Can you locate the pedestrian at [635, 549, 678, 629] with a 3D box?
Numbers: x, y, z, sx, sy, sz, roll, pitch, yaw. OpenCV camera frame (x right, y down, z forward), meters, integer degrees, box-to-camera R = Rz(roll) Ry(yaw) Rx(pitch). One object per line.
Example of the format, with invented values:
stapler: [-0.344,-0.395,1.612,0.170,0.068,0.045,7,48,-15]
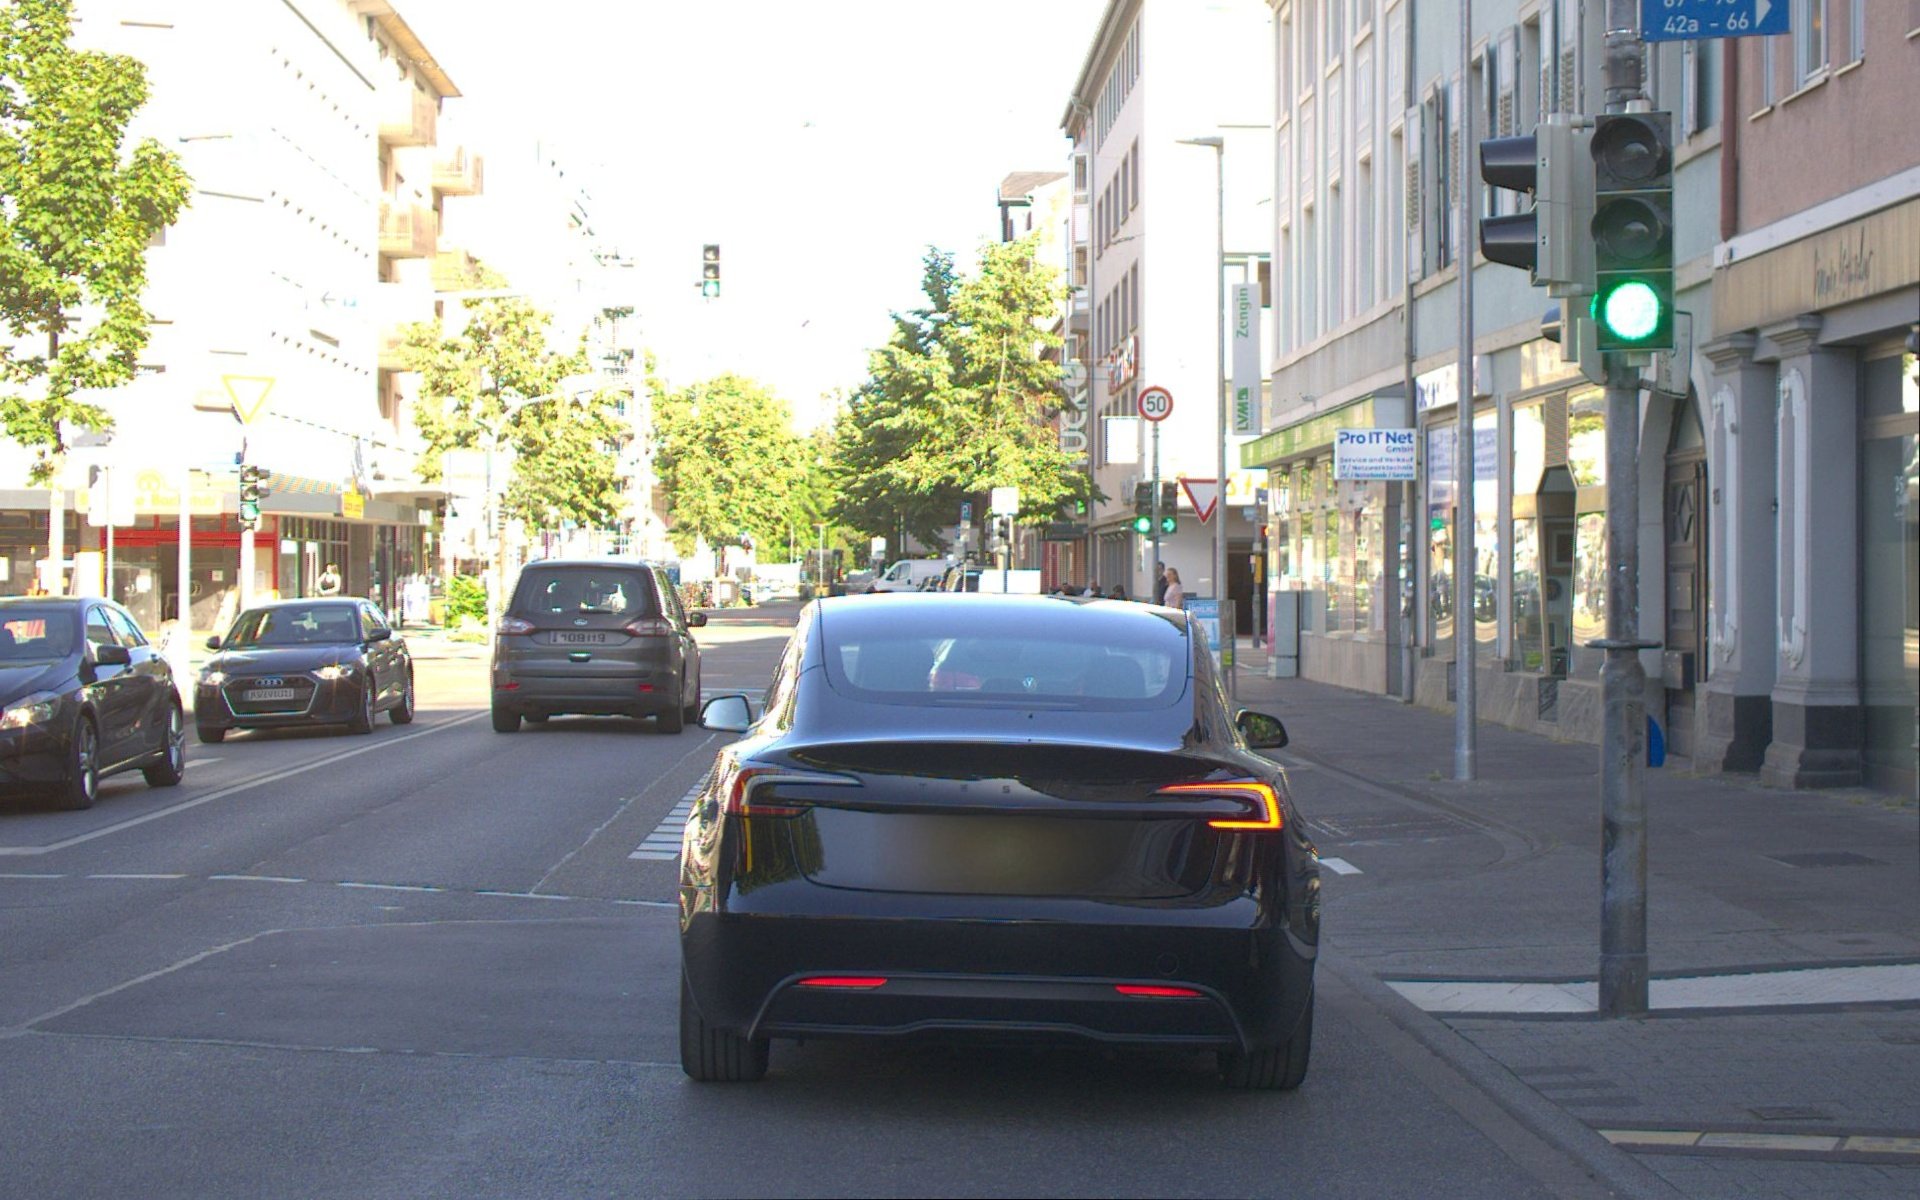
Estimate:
pedestrian: [-7.231,-0.272,81.842,0.778,1.860,1.002,-3,1,-16]

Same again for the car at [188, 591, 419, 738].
car: [-6.774,0.629,35.827,1.650,1.393,4.043,-1,1,-1]

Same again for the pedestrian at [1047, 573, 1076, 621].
pedestrian: [2.858,-0.079,97.087,0.709,1.343,1.060,0,0,-5]

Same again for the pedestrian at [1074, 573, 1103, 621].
pedestrian: [3.637,-0.086,97.260,0.730,1.356,0.959,0,0,-2]

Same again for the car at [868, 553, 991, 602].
car: [-1.383,-0.996,153.820,5.391,2.138,2.000,0,0,-2]

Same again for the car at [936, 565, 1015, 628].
car: [0.386,-0.111,92.113,2.001,1.630,4.289,0,1,-1]

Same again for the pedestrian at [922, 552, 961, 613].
pedestrian: [-0.578,-0.552,108.564,0.958,1.909,1.104,0,0,15]

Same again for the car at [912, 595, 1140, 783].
car: [0.524,0.689,28.916,1.762,1.414,4.354,1,0,0]

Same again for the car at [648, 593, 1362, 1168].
car: [0.093,0.731,11.195,1.869,1.422,4.365,0,1,-1]

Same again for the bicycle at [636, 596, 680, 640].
bicycle: [-7.184,0.423,81.811,0.758,1.004,1.726,-3,1,-13]

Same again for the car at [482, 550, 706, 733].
car: [-3.637,0.370,34.848,1.904,1.727,4.289,0,1,-1]

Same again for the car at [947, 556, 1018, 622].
car: [0.630,-0.341,98.545,1.904,1.846,4.289,0,1,-1]

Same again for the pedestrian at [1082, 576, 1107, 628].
pedestrian: [3.374,0.048,86.488,0.586,1.308,0.560,0,0,-1]

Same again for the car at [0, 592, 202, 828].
car: [-6.560,0.723,23.594,1.749,1.418,4.255,-3,1,-1]

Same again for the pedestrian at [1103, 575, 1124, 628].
pedestrian: [3.907,0.039,87.276,0.488,1.317,0.653,0,0,6]

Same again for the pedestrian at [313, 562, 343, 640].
pedestrian: [-13.998,0.015,76.117,0.558,1.703,0.712,-1,0,-4]

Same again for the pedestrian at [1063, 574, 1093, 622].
pedestrian: [3.289,-0.065,95.985,0.730,1.343,1.060,0,0,-4]

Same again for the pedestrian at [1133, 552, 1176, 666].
pedestrian: [3.147,0.135,55.733,0.640,1.835,0.681,0,1,-2]

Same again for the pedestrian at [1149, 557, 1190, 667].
pedestrian: [3.362,0.184,55.193,0.572,1.753,0.649,1,1,-2]
